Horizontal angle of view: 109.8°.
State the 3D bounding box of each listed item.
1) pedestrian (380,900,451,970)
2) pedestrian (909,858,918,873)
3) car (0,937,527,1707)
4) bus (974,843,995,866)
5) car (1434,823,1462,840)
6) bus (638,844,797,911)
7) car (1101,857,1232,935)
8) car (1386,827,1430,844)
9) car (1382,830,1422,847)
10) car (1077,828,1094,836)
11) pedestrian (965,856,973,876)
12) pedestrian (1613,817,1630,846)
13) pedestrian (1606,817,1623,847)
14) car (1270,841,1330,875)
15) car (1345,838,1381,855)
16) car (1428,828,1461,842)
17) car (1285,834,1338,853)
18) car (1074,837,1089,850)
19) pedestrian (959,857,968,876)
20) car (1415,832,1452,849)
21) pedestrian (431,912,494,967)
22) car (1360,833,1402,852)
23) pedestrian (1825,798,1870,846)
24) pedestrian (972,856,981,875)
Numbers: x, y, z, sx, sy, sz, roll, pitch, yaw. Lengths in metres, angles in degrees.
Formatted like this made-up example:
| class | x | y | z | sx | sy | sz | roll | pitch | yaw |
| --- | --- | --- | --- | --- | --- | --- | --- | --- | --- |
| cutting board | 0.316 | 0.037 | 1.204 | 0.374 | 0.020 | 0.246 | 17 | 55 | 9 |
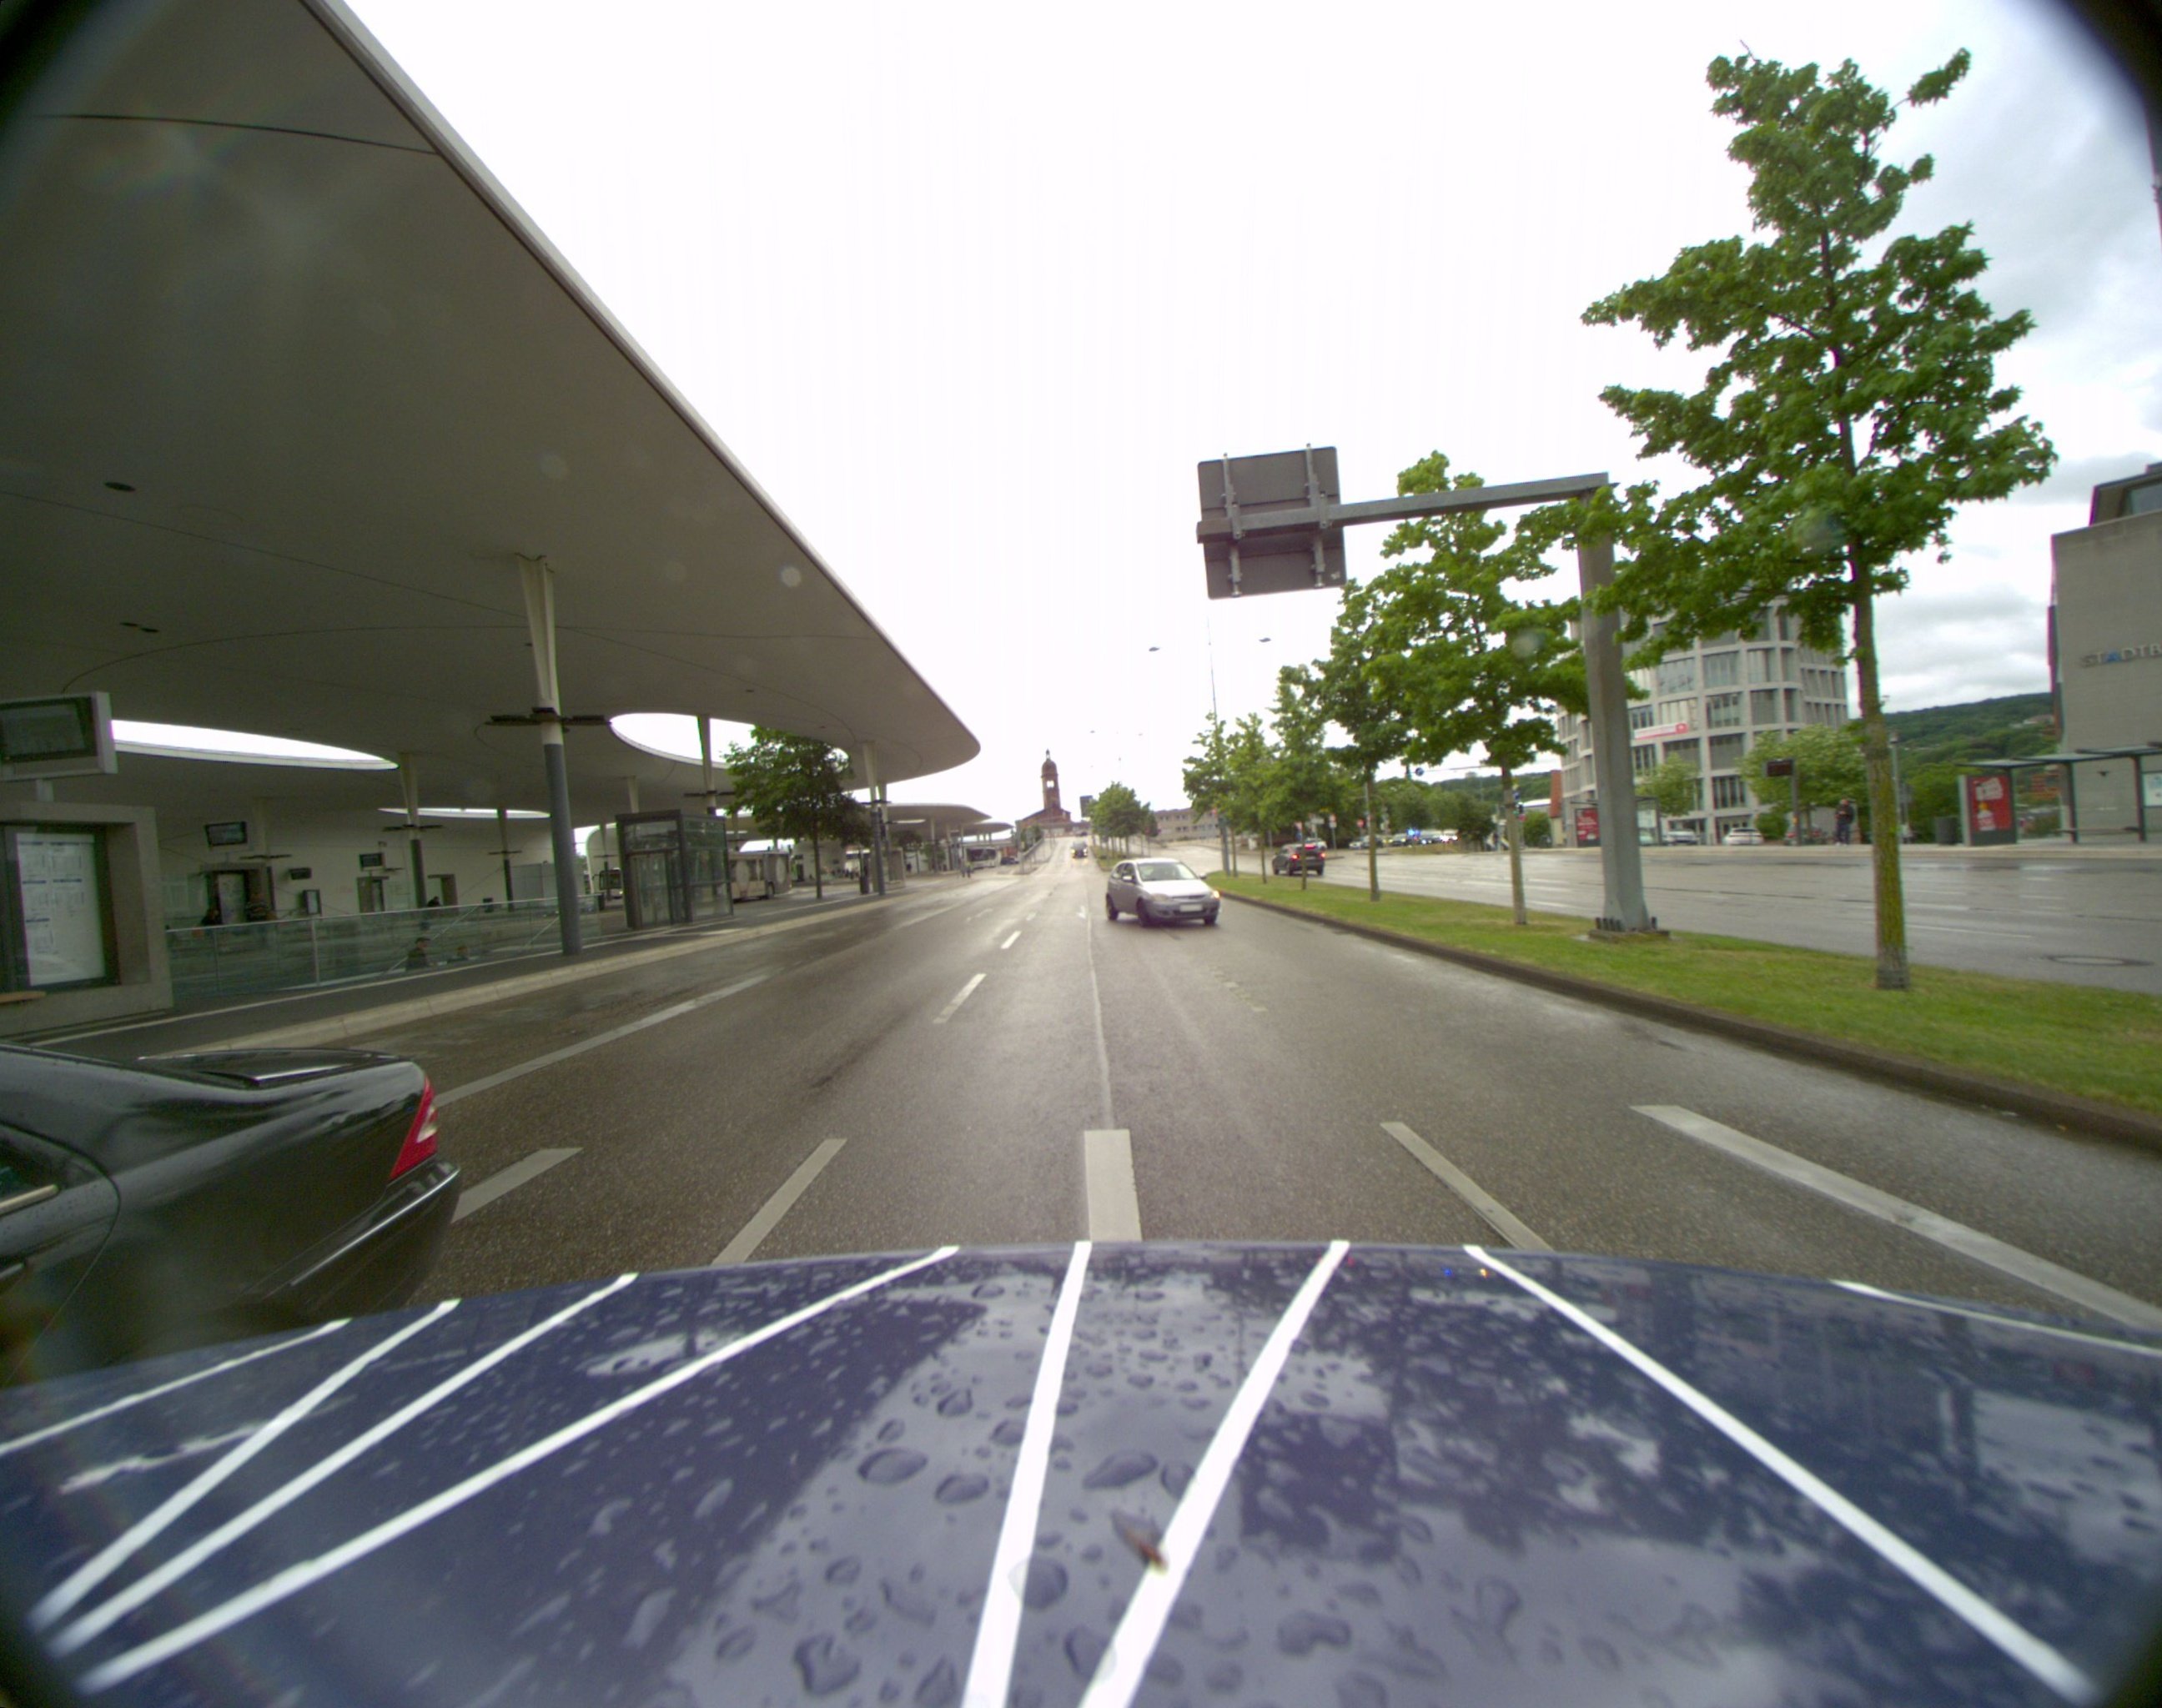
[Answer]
| class | x | y | z | sx | sy | sz | roll | pitch | yaw |
| --- | --- | --- | --- | --- | --- | --- | --- | --- | --- |
| pedestrian | -12.738 | 1.537 | 14.565 | 0.693 | 1.244 | 0.669 | -3 | 1 | 1 |
| pedestrian | -18.823 | 1.320 | 85.429 | 0.723 | 1.621 | 0.753 | -3 | 1 | 0 |
| car | -2.833 | 1.168 | 0.290 | 1.750 | 1.472 | 4.434 | -7 | 2 | 1 |
| bus | -14.309 | 0.066 | 113.265 | 2.675 | 3.111 | 9.712 | -3 | 0 | -5 |
| car | 46.851 | -2.921 | 96.977 | 1.995 | 2.002 | 4.007 | -2 | 1 | 44 |
| bus | -19.749 | 1.104 | 42.685 | 3.003 | 3.088 | 12.352 | -3 | 0 | -1 |
| car | 1.774 | 0.846 | 16.970 | 1.629 | 1.450 | 3.731 | -3 | 0 | -14 |
| car | 43.731 | -2.514 | 101.673 | 2.313 | 2.002 | 5.023 | -3 | 1 | -28 |
| car | 36.106 | -1.752 | 85.411 | 4.925 | 1.702 | 2.190 | -3 | 1 | -43 |
| car | 1.043 | -5.219 | 181.128 | 2.003 | 1.765 | 3.990 | -3 | 1 | -32 |
| pedestrian | -9.558 | 1.022 | 64.971 | 0.557 | 1.614 | 0.552 | -3 | 1 | 1 |
| pedestrian | 30.048 | -1.242 | 42.245 | 0.520 | 1.625 | 0.536 | -2 | 1 | 1 |
| pedestrian | 29.499 | -1.215 | 42.012 | 0.504 | 1.625 | 0.502 | -2 | 1 | 1 |
| car | 11.691 | 0.166 | 40.839 | 1.826 | 1.630 | 4.599 | -3 | 0 | 0 |
| car | 32.359 | -0.864 | 87.252 | 4.007 | 1.783 | 1.995 | -3 | 0 | -38 |
| car | 49.591 | -2.574 | 103.761 | 2.195 | 1.702 | 4.916 | -3 | 0 | 0 |
| car | 24.635 | -1.134 | 81.125 | 4.918 | 1.702 | 2.193 | -3 | 1 | -15 |
| car | 0.070 | -1.373 | 101.404 | 1.704 | 1.656 | 3.998 | -3 | 1 | -2 |
| pedestrian | -10.037 | 1.077 | 65.061 | 0.576 | 1.614 | 0.588 | -3 | 1 | 1 |
| car | 41.513 | -1.601 | 89.541 | 4.925 | 1.702 | 2.190 | -3 | 1 | -43 |
| pedestrian | -11.932 | 1.649 | 14.674 | 0.622 | 0.957 | 0.638 | -3 | 1 | 1 |
| car | 31.694 | -1.201 | 80.223 | 4.925 | 1.702 | 2.190 | -3 | 1 | -43 |
| pedestrian | 29.229 | -1.198 | 28.987 | 0.787 | 1.750 | 0.972 | -3 | 1 | -28 |
| pedestrian | -8.929 | 0.994 | 65.016 | 0.557 | 1.614 | 0.552 | -3 | 1 | 1 |
